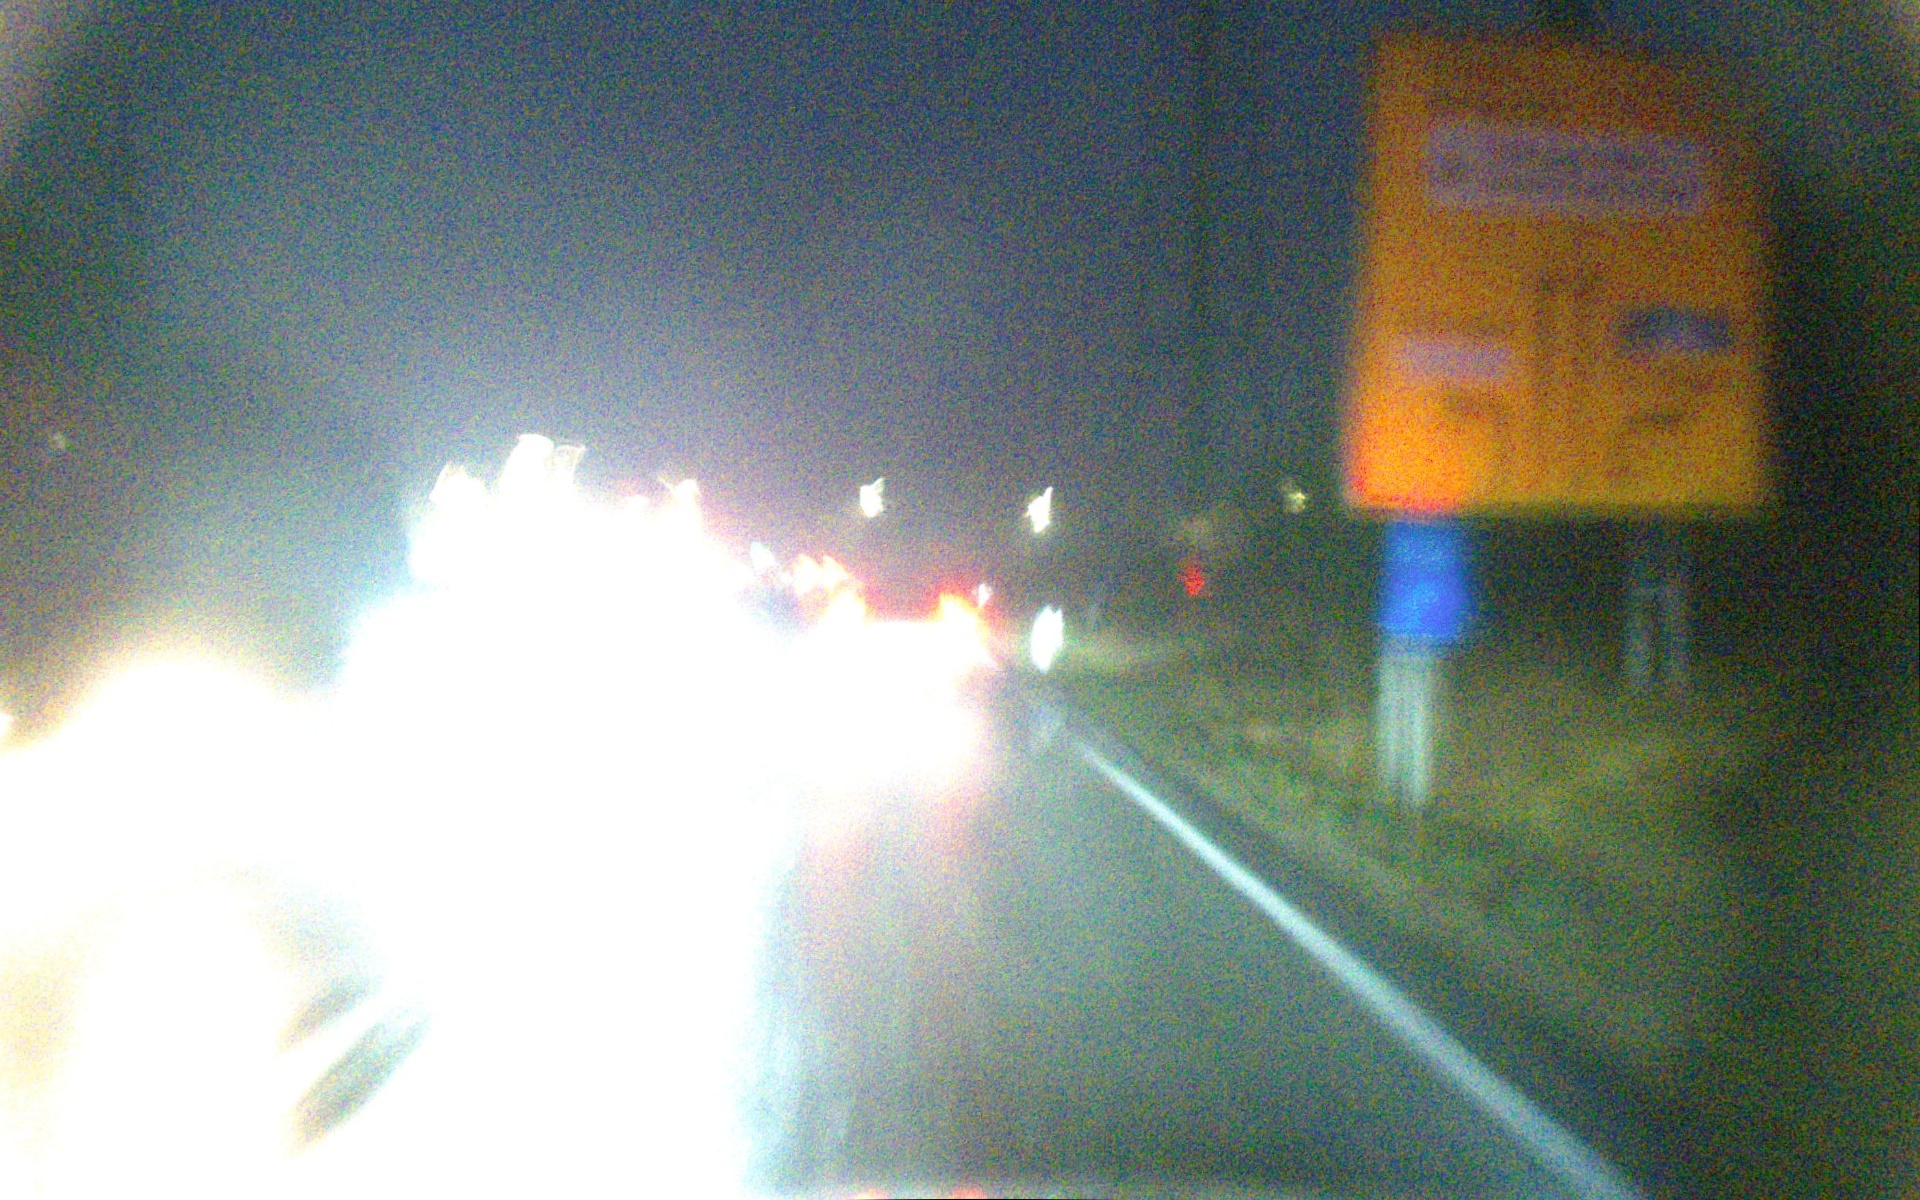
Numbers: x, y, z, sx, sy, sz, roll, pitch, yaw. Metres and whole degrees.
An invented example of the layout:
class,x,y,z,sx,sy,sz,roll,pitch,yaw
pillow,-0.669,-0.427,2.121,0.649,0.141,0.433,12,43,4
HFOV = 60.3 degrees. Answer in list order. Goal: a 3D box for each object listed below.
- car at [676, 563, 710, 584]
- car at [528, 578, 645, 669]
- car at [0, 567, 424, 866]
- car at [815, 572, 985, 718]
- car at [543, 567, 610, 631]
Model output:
class,x,y,z,sx,sy,sz,roll,pitch,yaw
car,-21.916,-2.188,135.630,1.963,1.656,4.958,-2,2,-19
car,-6.298,0.381,28.233,1.739,1.413,4.026,1,0,-10
car,-4.606,0.556,9.953,1.737,1.413,4.227,1,0,-6
car,-0.680,0.525,21.758,1.952,1.656,4.984,1,0,0
car,-11.400,-0.027,48.992,1.828,1.778,4.944,1,0,-14
